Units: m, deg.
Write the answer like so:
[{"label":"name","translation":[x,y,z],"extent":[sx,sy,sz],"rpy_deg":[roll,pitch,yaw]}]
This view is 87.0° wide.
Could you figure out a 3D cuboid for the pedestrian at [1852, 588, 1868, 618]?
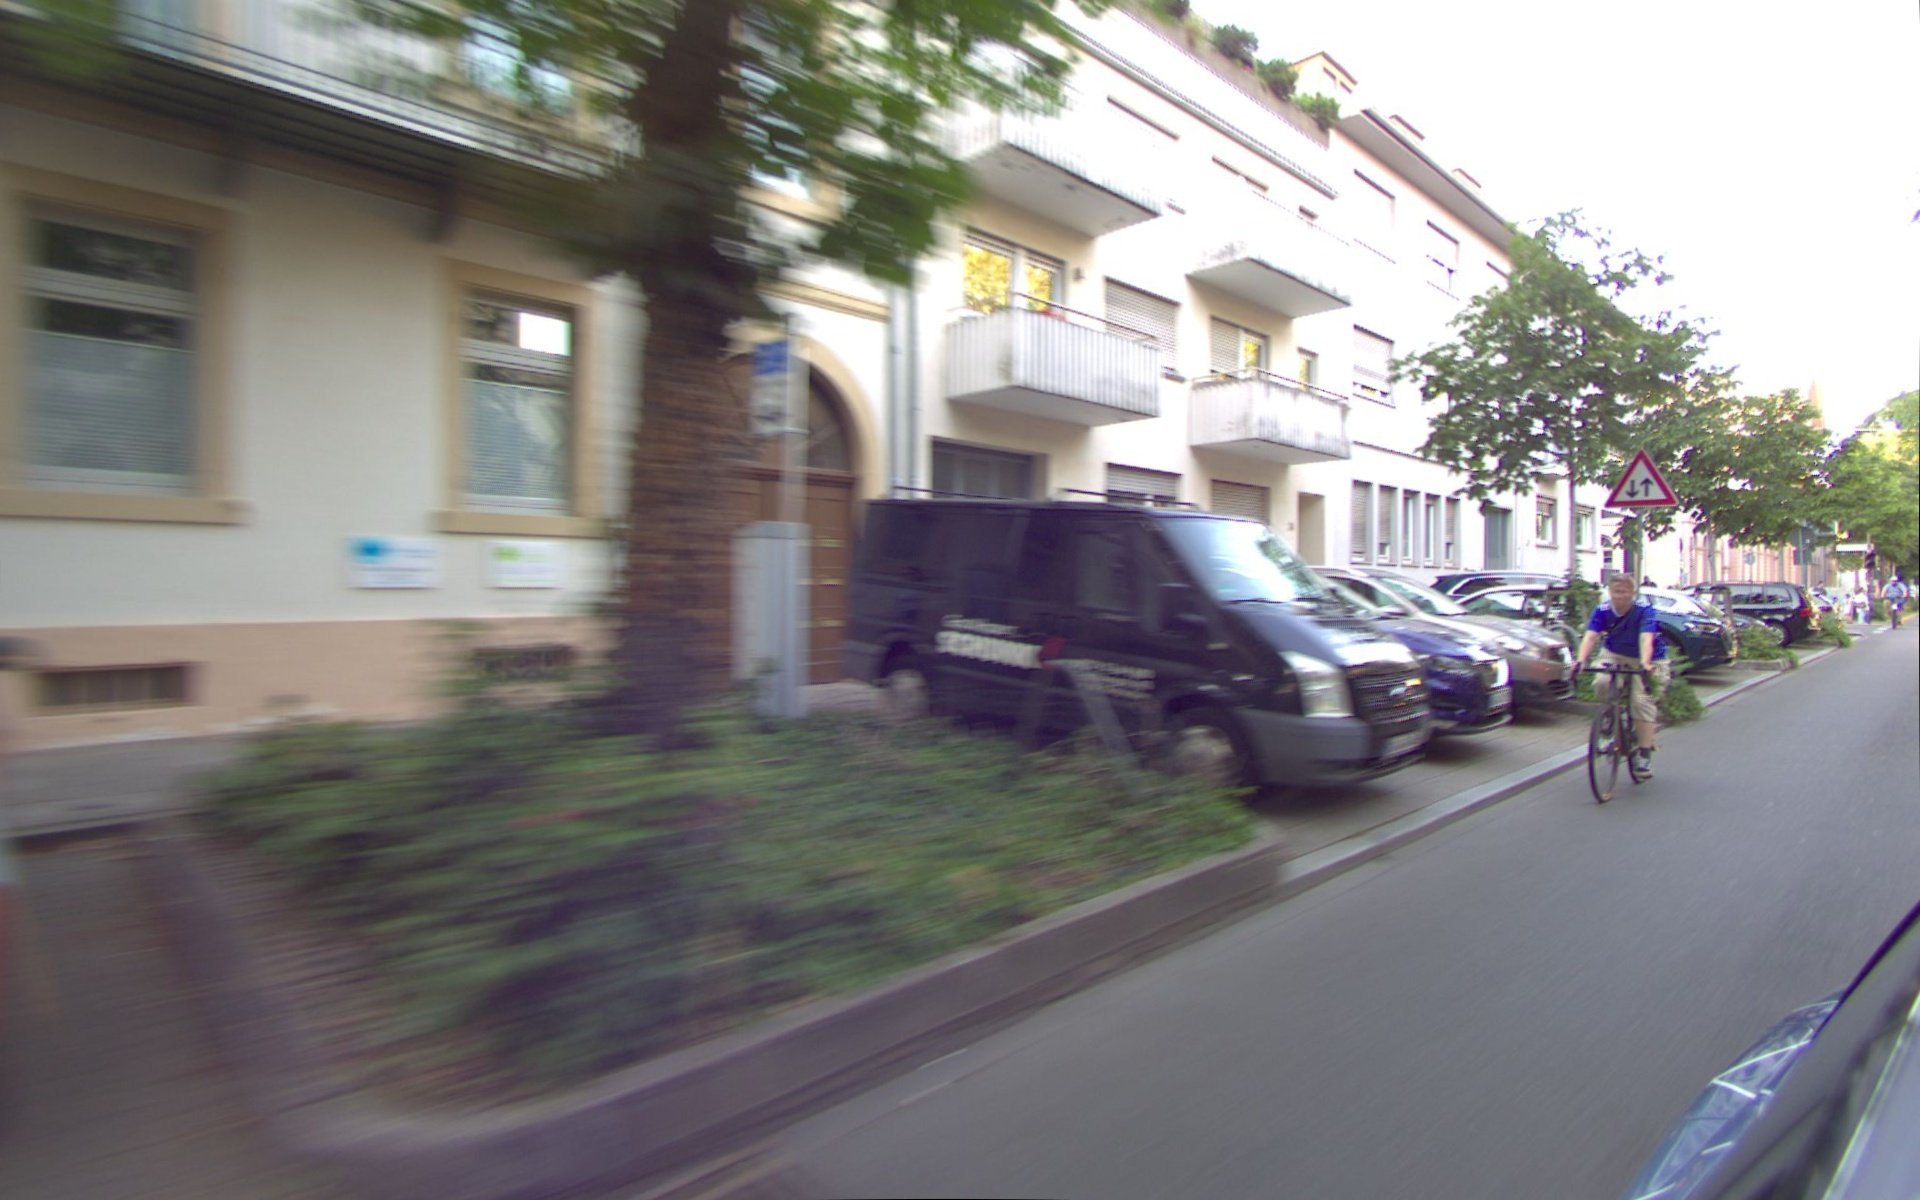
[{"label":"pedestrian","translation":[38.409,0.117,43.196],"extent":[0.449,1.277,0.483],"rpy_deg":[3,2,40]}]

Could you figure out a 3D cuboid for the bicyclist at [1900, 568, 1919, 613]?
[{"label":"bicyclist","translation":[34.029,-0.342,36.139],"extent":[0.635,1.581,0.805],"rpy_deg":[-2,-2,44]}]

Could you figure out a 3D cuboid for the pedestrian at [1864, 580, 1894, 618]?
[{"label":"pedestrian","translation":[38.279,-0.064,42.163],"extent":[0.591,1.530,0.717],"rpy_deg":[2,2,17]}]

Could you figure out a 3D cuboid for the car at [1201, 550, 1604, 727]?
[{"label":"car","translation":[5.116,0.302,12.068],"extent":[1.821,1.597,3.969],"rpy_deg":[-1,5,-45]}]

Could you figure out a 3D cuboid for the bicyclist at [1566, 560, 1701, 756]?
[{"label":"bicyclist","translation":[5.090,0.413,7.646],"extent":[0.764,1.381,0.672],"rpy_deg":[0,-1,-44]}]

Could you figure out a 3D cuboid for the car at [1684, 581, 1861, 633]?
[{"label":"car","translation":[24.599,0.164,30.722],"extent":[1.764,1.455,3.991],"rpy_deg":[0,1,-43]}]

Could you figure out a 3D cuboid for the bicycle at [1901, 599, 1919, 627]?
[{"label":"bicycle","translation":[34.041,0.456,36.115],"extent":[0.635,0.996,1.950],"rpy_deg":[-2,-2,44]}]

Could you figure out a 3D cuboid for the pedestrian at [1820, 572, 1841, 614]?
[{"label":"pedestrian","translation":[37.889,-0.290,44.040],"extent":[0.566,1.796,0.544],"rpy_deg":[0,2,-43]}]

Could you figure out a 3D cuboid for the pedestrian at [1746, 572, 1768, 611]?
[{"label":"pedestrian","translation":[39.209,-0.408,49.768],"extent":[0.697,1.878,1.033],"rpy_deg":[2,1,45]}]

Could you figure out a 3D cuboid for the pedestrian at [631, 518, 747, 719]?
[{"label":"pedestrian","translation":[-2.310,0.146,8.628],"extent":[0.725,1.619,0.669],"rpy_deg":[0,-1,-44]}]

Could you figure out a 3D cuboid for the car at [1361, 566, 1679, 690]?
[{"label":"car","translation":[8.249,0.308,15.124],"extent":[1.670,1.440,3.797],"rpy_deg":[-1,5,-45]}]

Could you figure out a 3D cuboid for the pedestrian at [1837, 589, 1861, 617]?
[{"label":"pedestrian","translation":[38.496,0.130,43.810],"extent":[0.534,1.159,0.494],"rpy_deg":[1,2,-7]}]

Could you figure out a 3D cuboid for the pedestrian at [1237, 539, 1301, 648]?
[{"label":"pedestrian","translation":[5.314,-0.118,17.400],"extent":[0.866,1.817,0.698],"rpy_deg":[0,1,-43]}]

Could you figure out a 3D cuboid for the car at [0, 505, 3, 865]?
[{"label":"car","translation":[-4.107,0.475,3.080],"extent":[1.685,1.597,3.686],"rpy_deg":[-1,5,-43]}]

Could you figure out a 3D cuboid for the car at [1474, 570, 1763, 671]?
[{"label":"car","translation":[11.961,0.277,18.601],"extent":[1.787,1.446,4.083],"rpy_deg":[0,4,-41]}]

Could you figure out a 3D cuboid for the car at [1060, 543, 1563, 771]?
[{"label":"car","translation":[3.224,0.342,9.861],"extent":[1.938,1.597,4.159],"rpy_deg":[-1,5,-45]}]

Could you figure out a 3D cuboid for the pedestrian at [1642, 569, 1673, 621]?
[{"label":"pedestrian","translation":[24.836,-0.177,36.041],"extent":[1.048,1.817,0.698],"rpy_deg":[0,1,-43]}]

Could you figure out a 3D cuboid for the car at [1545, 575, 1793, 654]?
[{"label":"car","translation":[15.816,0.251,22.738],"extent":[1.765,1.514,4.318],"rpy_deg":[-1,3,-44]}]

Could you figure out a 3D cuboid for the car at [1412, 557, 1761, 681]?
[{"label":"car","translation":[10.310,0.195,16.936],"extent":[1.913,1.597,4.595],"rpy_deg":[-1,5,-45]}]

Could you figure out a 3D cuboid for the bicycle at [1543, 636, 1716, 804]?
[{"label":"bicycle","translation":[5.089,0.827,7.639],"extent":[1.944,1.043,0.672],"rpy_deg":[0,-1,-44]}]

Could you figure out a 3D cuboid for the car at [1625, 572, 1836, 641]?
[{"label":"car","translation":[19.922,0.114,26.270],"extent":[1.928,1.637,4.114],"rpy_deg":[0,1,-43]}]

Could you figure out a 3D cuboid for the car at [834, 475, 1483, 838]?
[{"label":"car","translation":[1.248,0.140,8.040],"extent":[2.004,2.035,4.695],"rpy_deg":[-1,5,-44]}]
